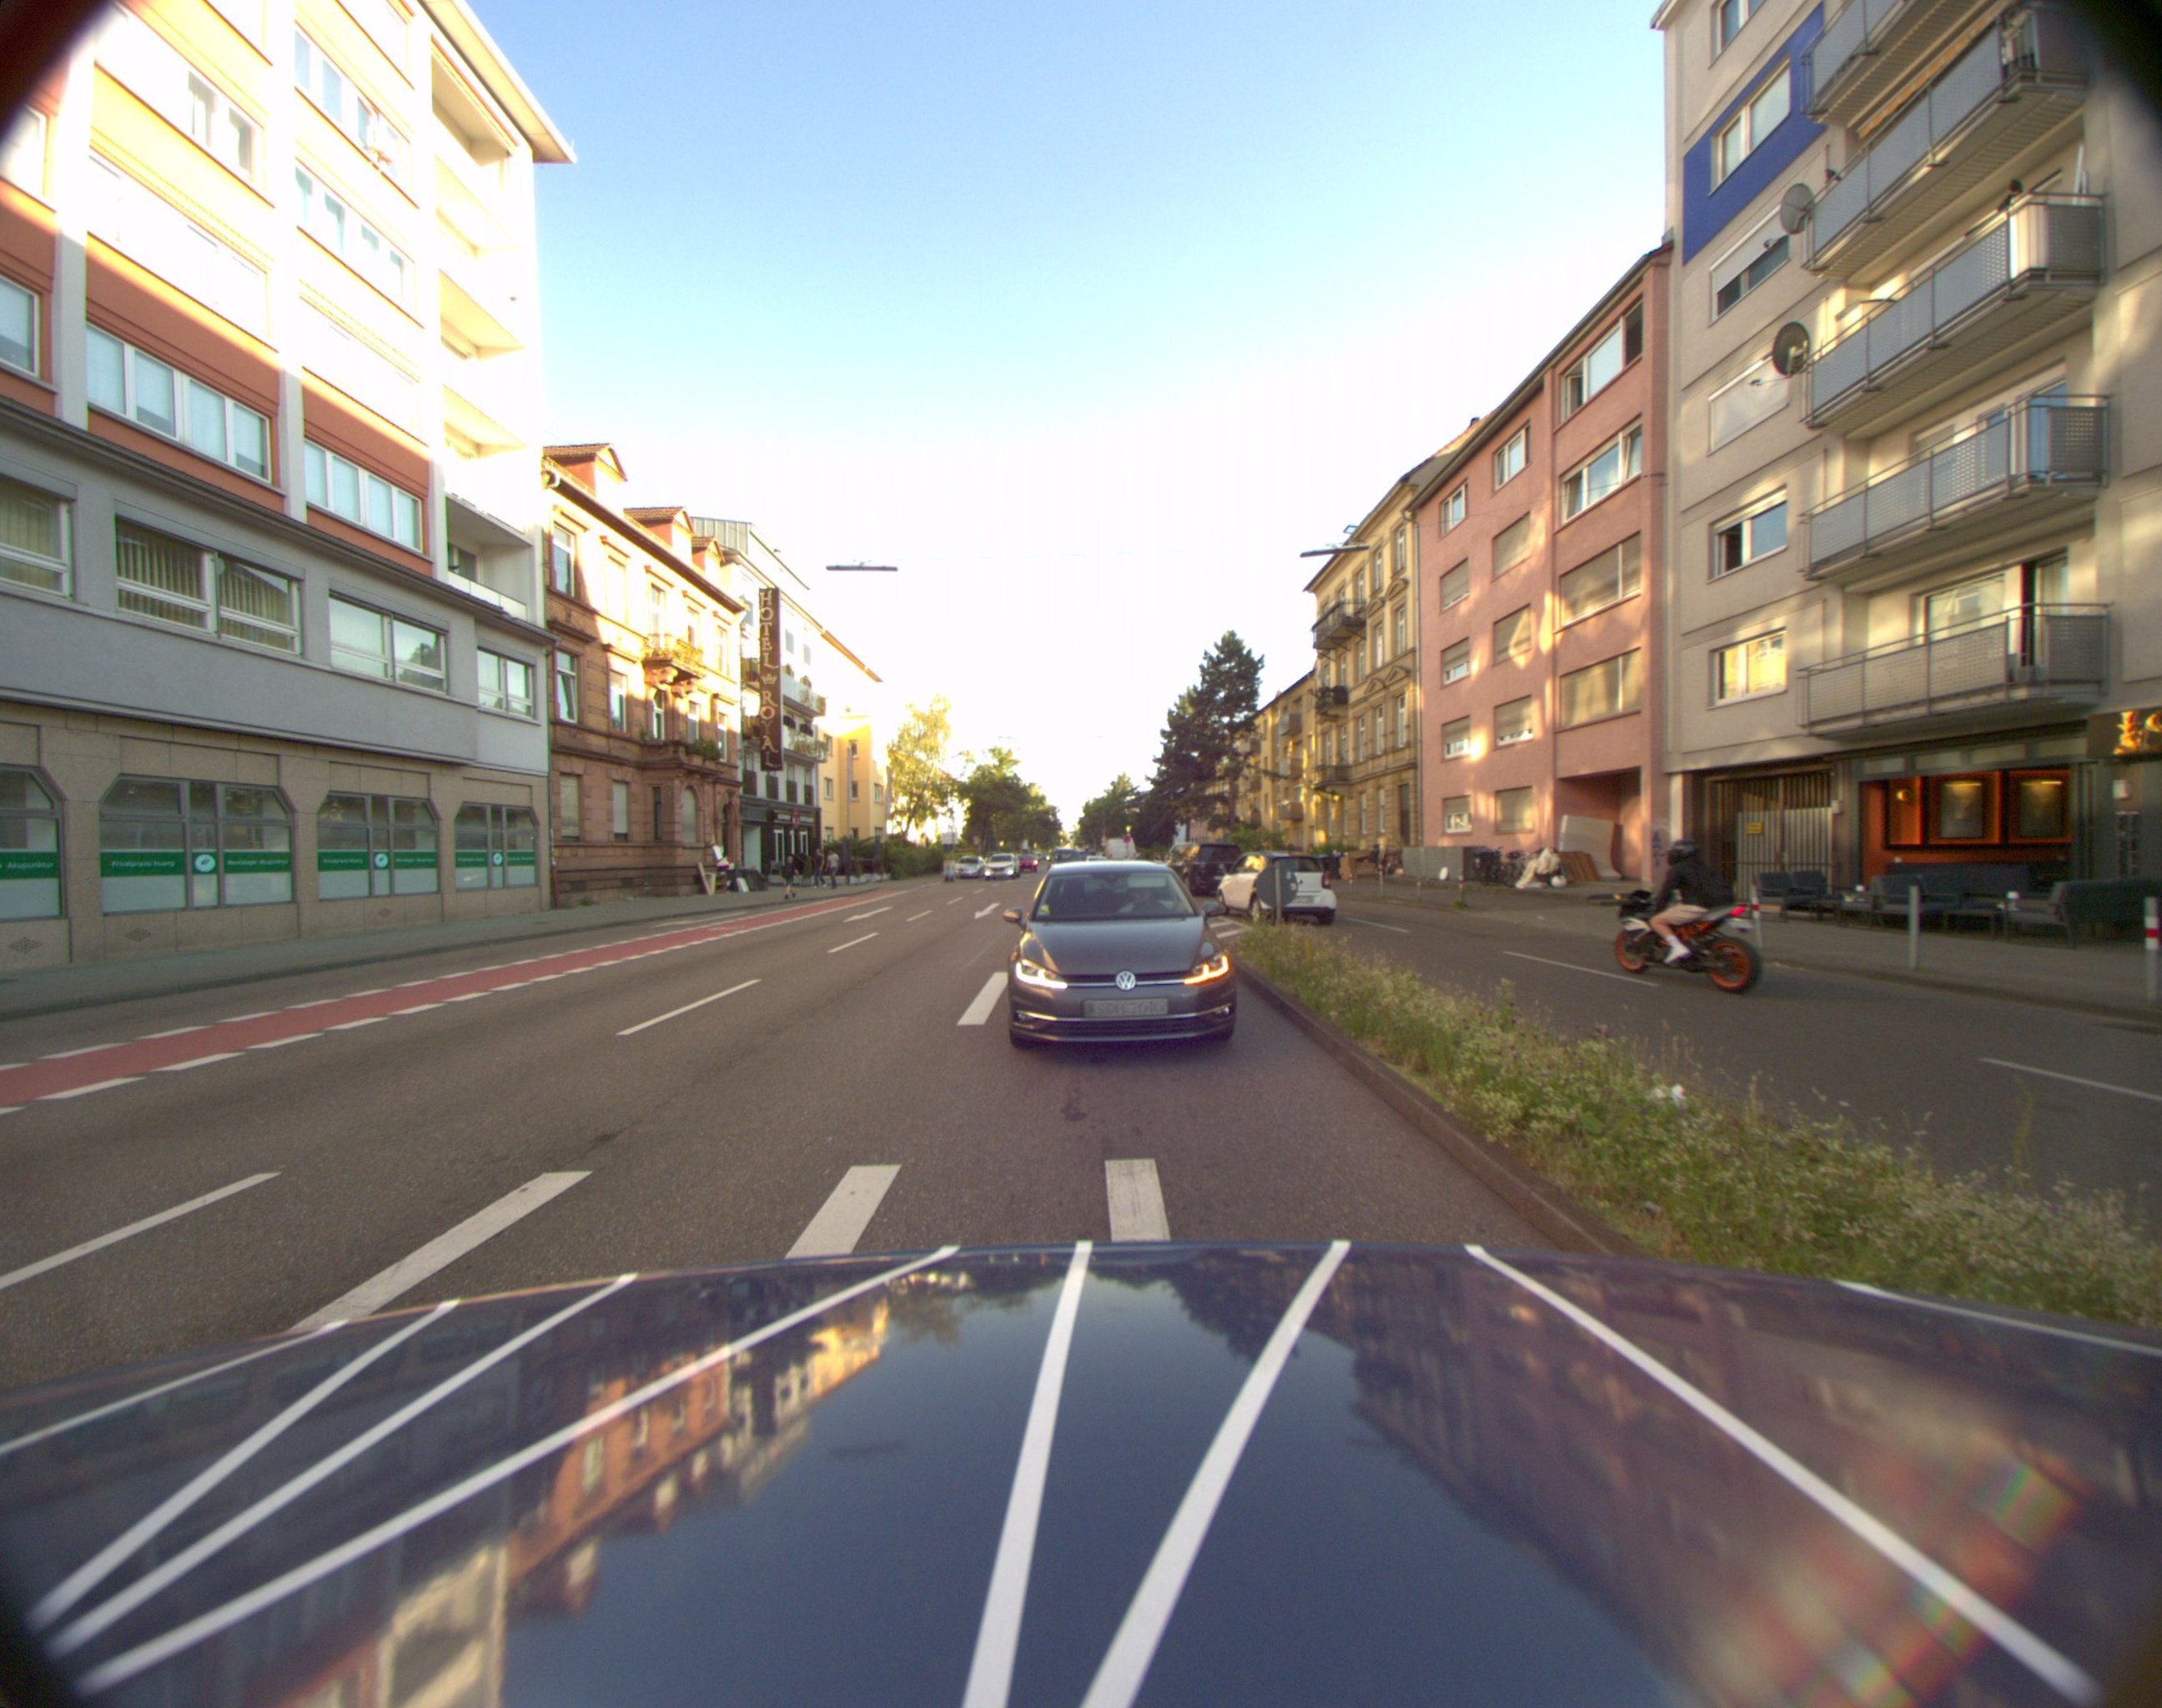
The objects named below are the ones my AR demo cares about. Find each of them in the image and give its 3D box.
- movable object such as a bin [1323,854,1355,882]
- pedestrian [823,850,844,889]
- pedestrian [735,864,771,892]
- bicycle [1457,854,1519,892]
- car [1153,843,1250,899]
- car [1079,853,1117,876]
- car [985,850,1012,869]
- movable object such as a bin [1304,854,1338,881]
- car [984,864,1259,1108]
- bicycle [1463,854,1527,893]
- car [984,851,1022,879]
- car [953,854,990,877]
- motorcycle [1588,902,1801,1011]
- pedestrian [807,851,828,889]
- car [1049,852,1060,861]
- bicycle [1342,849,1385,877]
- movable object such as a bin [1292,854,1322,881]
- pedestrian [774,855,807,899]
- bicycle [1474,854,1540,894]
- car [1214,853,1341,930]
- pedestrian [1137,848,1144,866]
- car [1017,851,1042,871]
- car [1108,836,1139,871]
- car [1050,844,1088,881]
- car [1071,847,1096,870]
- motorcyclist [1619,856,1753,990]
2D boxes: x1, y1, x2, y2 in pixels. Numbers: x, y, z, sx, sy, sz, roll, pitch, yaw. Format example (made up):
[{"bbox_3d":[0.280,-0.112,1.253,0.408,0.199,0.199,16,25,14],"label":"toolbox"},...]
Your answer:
[{"bbox_3d":[11.725,0.607,34.501,1.196,1.225,0.847,-2,1,-40],"label":"movable object such as a bin"},{"bbox_3d":[-11.339,0.696,34.883,0.668,1.716,1.010,-1,1,-4],"label":"pedestrian"},{"bbox_3d":[-13.812,1.001,32.017,1.100,1.129,0.924,-1,1,-2],"label":"pedestrian"},{"bbox_3d":[13.176,0.595,24.630,1.780,1.184,0.473,-1,1,-2],"label":"bicycle"},{"bbox_3d":[4.237,0.530,27.503,1.897,1.843,4.695,0,1,-12],"label":"car"},{"bbox_3d":[1.029,0.660,48.835,1.896,1.382,4.266,0,0,-7],"label":"car"},{"bbox_3d":[-7.340,0.477,68.019,1.947,1.615,4.193,-1,0,0],"label":"car"},{"bbox_3d":[11.150,0.619,35.244,1.295,1.225,0.926,-2,1,-40],"label":"movable object such as a bin"},{"bbox_3d":[0.292,0.904,7.172,1.770,1.450,4.269,-2,1,1],"label":"car"},{"bbox_3d":[13.097,0.605,24.050,1.780,1.184,0.473,-1,1,-2],"label":"bicycle"},{"bbox_3d":[-4.929,0.659,48.681,1.921,1.598,4.269,-2,1,1],"label":"car"},{"bbox_3d":[-7.474,0.749,52.225,1.905,1.508,4.074,-1,0,1],"label":"car"},{"bbox_3d":[6.873,1.101,8.691,0.750,0.957,2.048,0,0,-1],"label":"motorcycle"},{"bbox_3d":[-12.080,0.707,34.903,0.668,1.716,1.010,-1,1,-5],"label":"pedestrian"},{"bbox_3d":[-5.154,0.473,146.479,1.907,1.532,3.999,-1,1,0],"label":"car"},{"bbox_3d":[12.643,0.400,34.017,1.780,1.184,0.473,-1,1,-2],"label":"bicycle"},{"bbox_3d":[10.756,0.625,36.138,1.196,1.225,0.847,-2,1,-40],"label":"movable object such as a bin"},{"bbox_3d":[-10.946,0.861,28.688,0.738,1.593,1.011,2,1,7],"label":"pedestrian"},{"bbox_3d":[13.077,0.607,23.317,1.780,1.184,0.473,-1,1,-2],"label":"bicycle"},{"bbox_3d":[4.262,0.755,17.002,1.596,1.533,3.402,0,1,-7],"label":"car"},{"bbox_3d":[5.215,0.283,66.561,0.577,1.591,0.481,-1,1,0],"label":"pedestrian"},{"bbox_3d":[-4.213,0.571,62.161,1.674,1.454,3.999,-2,1,1],"label":"car"},{"bbox_3d":[3.333,-0.053,60.354,2.136,2.740,4.465,0,1,-1],"label":"car"},{"bbox_3d":[-0.599,0.412,40.013,1.895,1.843,4.466,0,1,0],"label":"car"},{"bbox_3d":[0.185,0.325,60.906,1.895,1.729,4.292,0,0,-2],"label":"car"},{"bbox_3d":[6.864,0.745,8.676,0.750,1.433,0.958,0,1,-1],"label":"motorcyclist"}]
